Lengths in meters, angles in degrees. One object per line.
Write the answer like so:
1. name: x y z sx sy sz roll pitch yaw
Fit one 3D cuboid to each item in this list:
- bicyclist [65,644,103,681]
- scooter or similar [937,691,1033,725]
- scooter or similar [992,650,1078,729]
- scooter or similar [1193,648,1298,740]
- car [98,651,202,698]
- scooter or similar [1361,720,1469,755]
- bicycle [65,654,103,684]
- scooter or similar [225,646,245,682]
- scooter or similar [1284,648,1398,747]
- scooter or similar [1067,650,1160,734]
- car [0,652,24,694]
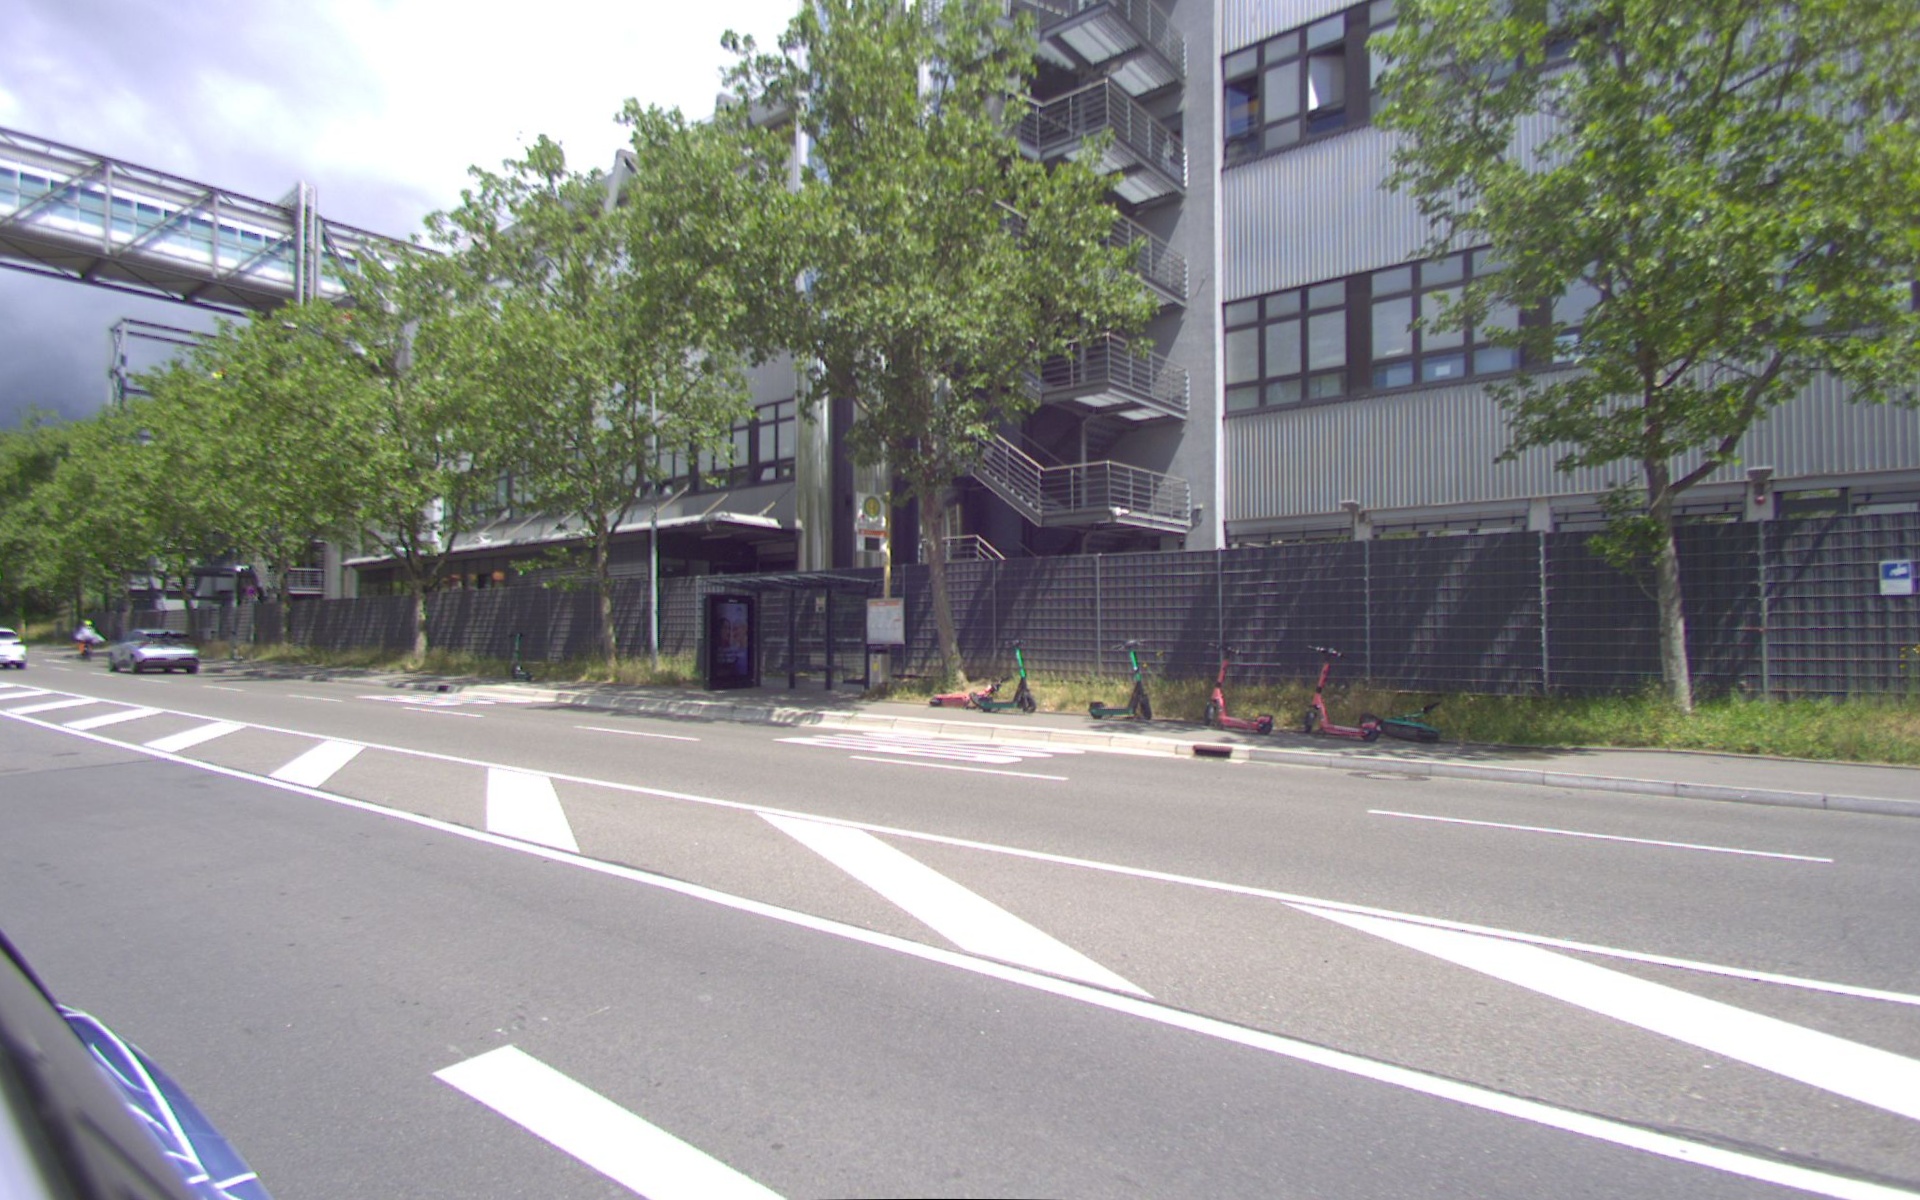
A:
1. bicyclist: -39.360 2.795 45.455 1.220 1.610 0.947 -1 -4 35
2. scooter or similar: 0.430 1.947 18.393 1.341 0.383 1.494 -3 0 -17
3. scooter or similar: 1.254 1.494 17.050 1.316 1.244 0.518 -3 0 38
4. scooter or similar: 4.130 1.342 14.678 1.316 1.244 0.517 -3 0 40
5. car: -28.078 2.540 35.034 4.184 1.517 1.860 -2 -4 38
6. scooter or similar: 6.113 1.839 13.652 0.530 0.325 1.276 -1 -2 -27
7. bicycle: -39.190 3.069 45.285 2.469 1.244 0.729 -1 -3 37
8. scooter or similar: -29.236 2.569 40.801 1.234 1.414 0.300 -1 -1 38
9. scooter or similar: 5.167 1.290 13.767 1.318 1.244 0.517 -3 0 45
10. scooter or similar: 2.428 1.435 16.077 1.316 1.244 0.518 -3 0 38
11. car: -34.943 2.569 36.065 4.140 1.426 1.675 -2 -4 38
